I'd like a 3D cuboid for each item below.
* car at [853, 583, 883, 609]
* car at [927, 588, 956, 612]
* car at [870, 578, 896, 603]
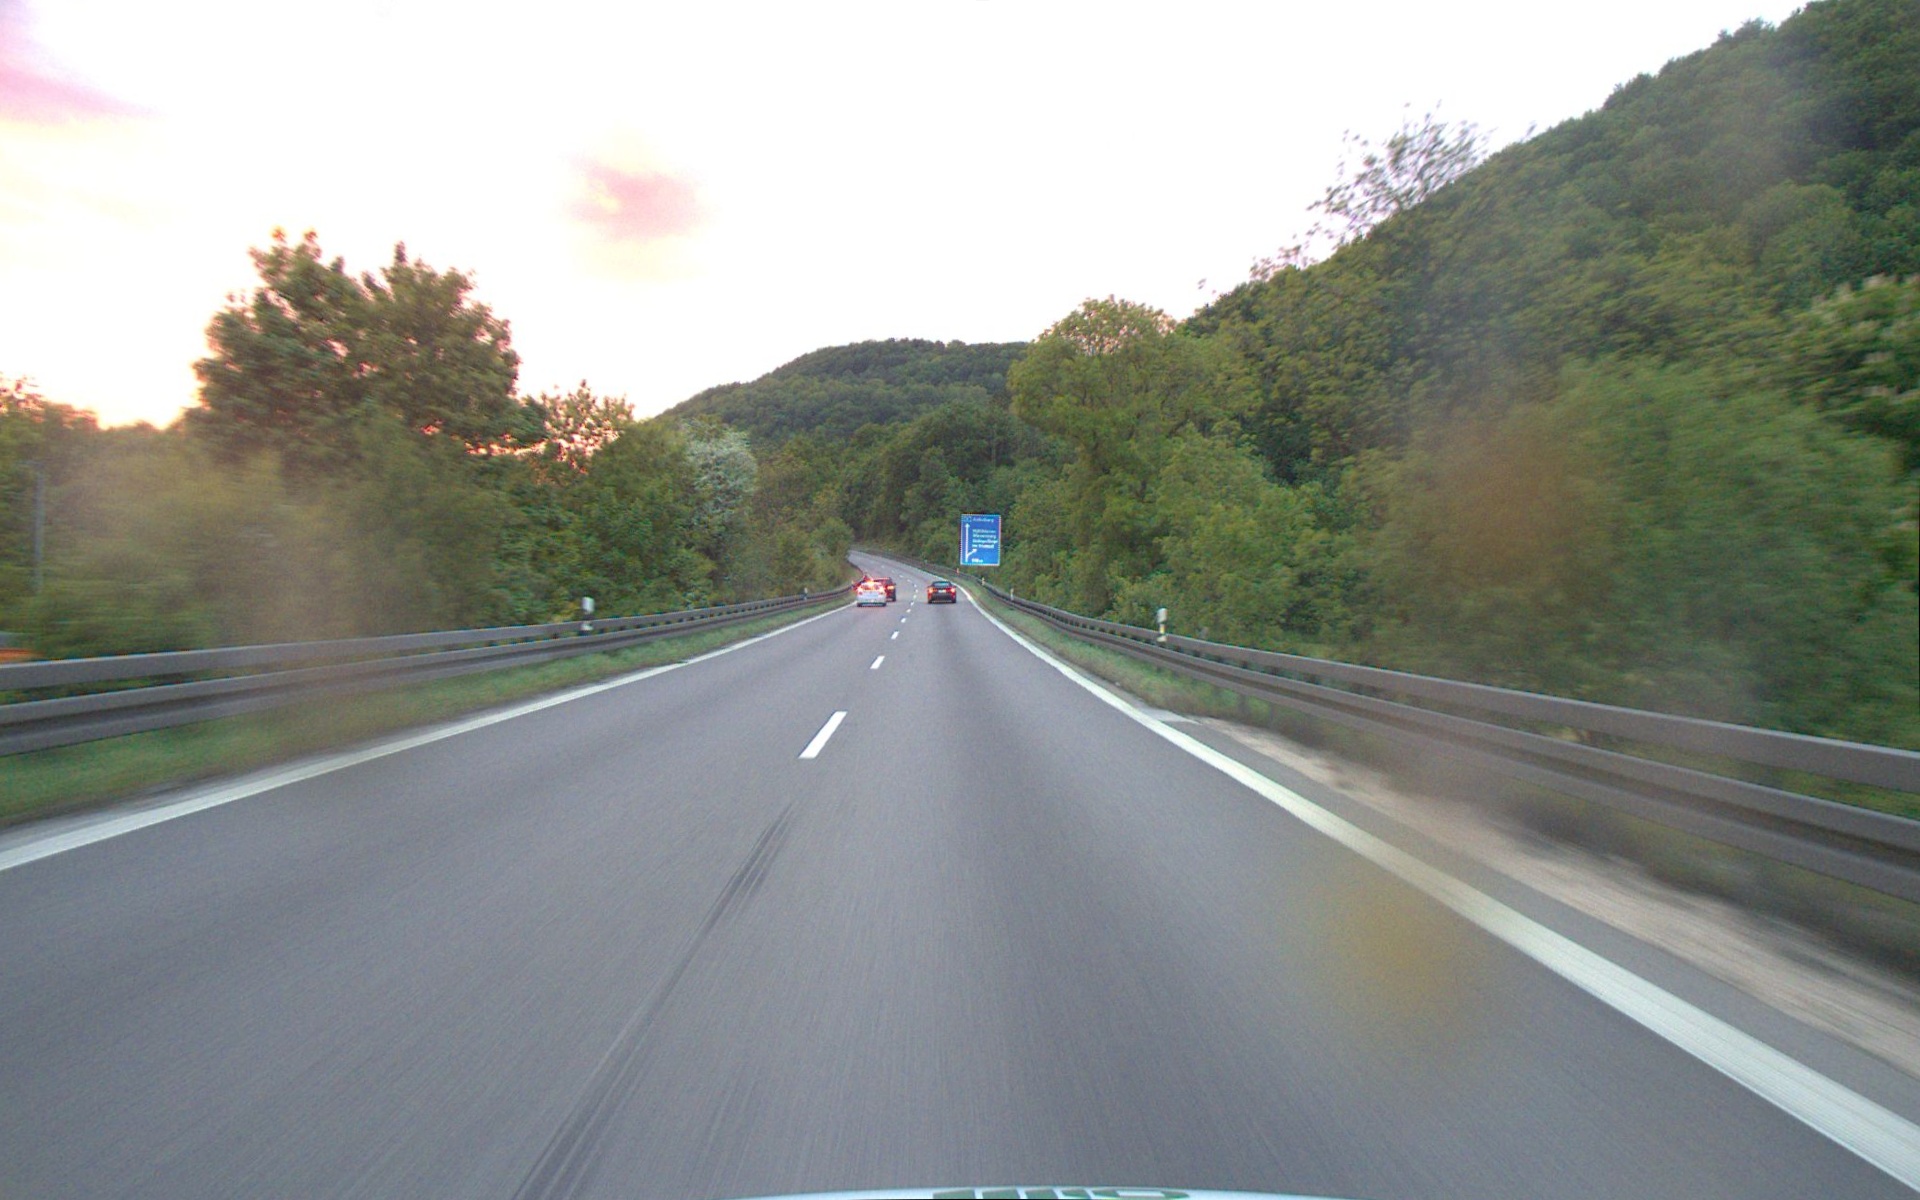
[{"bbox_3d":[-5.627,-0.280,101.707,1.683,1.527,3.999,0,1,-1],"label":"car"},{"bbox_3d":[-1.240,-0.003,107.912,1.840,1.492,3.999,0,1,-1],"label":"car"},{"bbox_3d":[-5.363,-0.669,114.950,1.683,1.663,3.999,0,1,-1],"label":"car"}]
